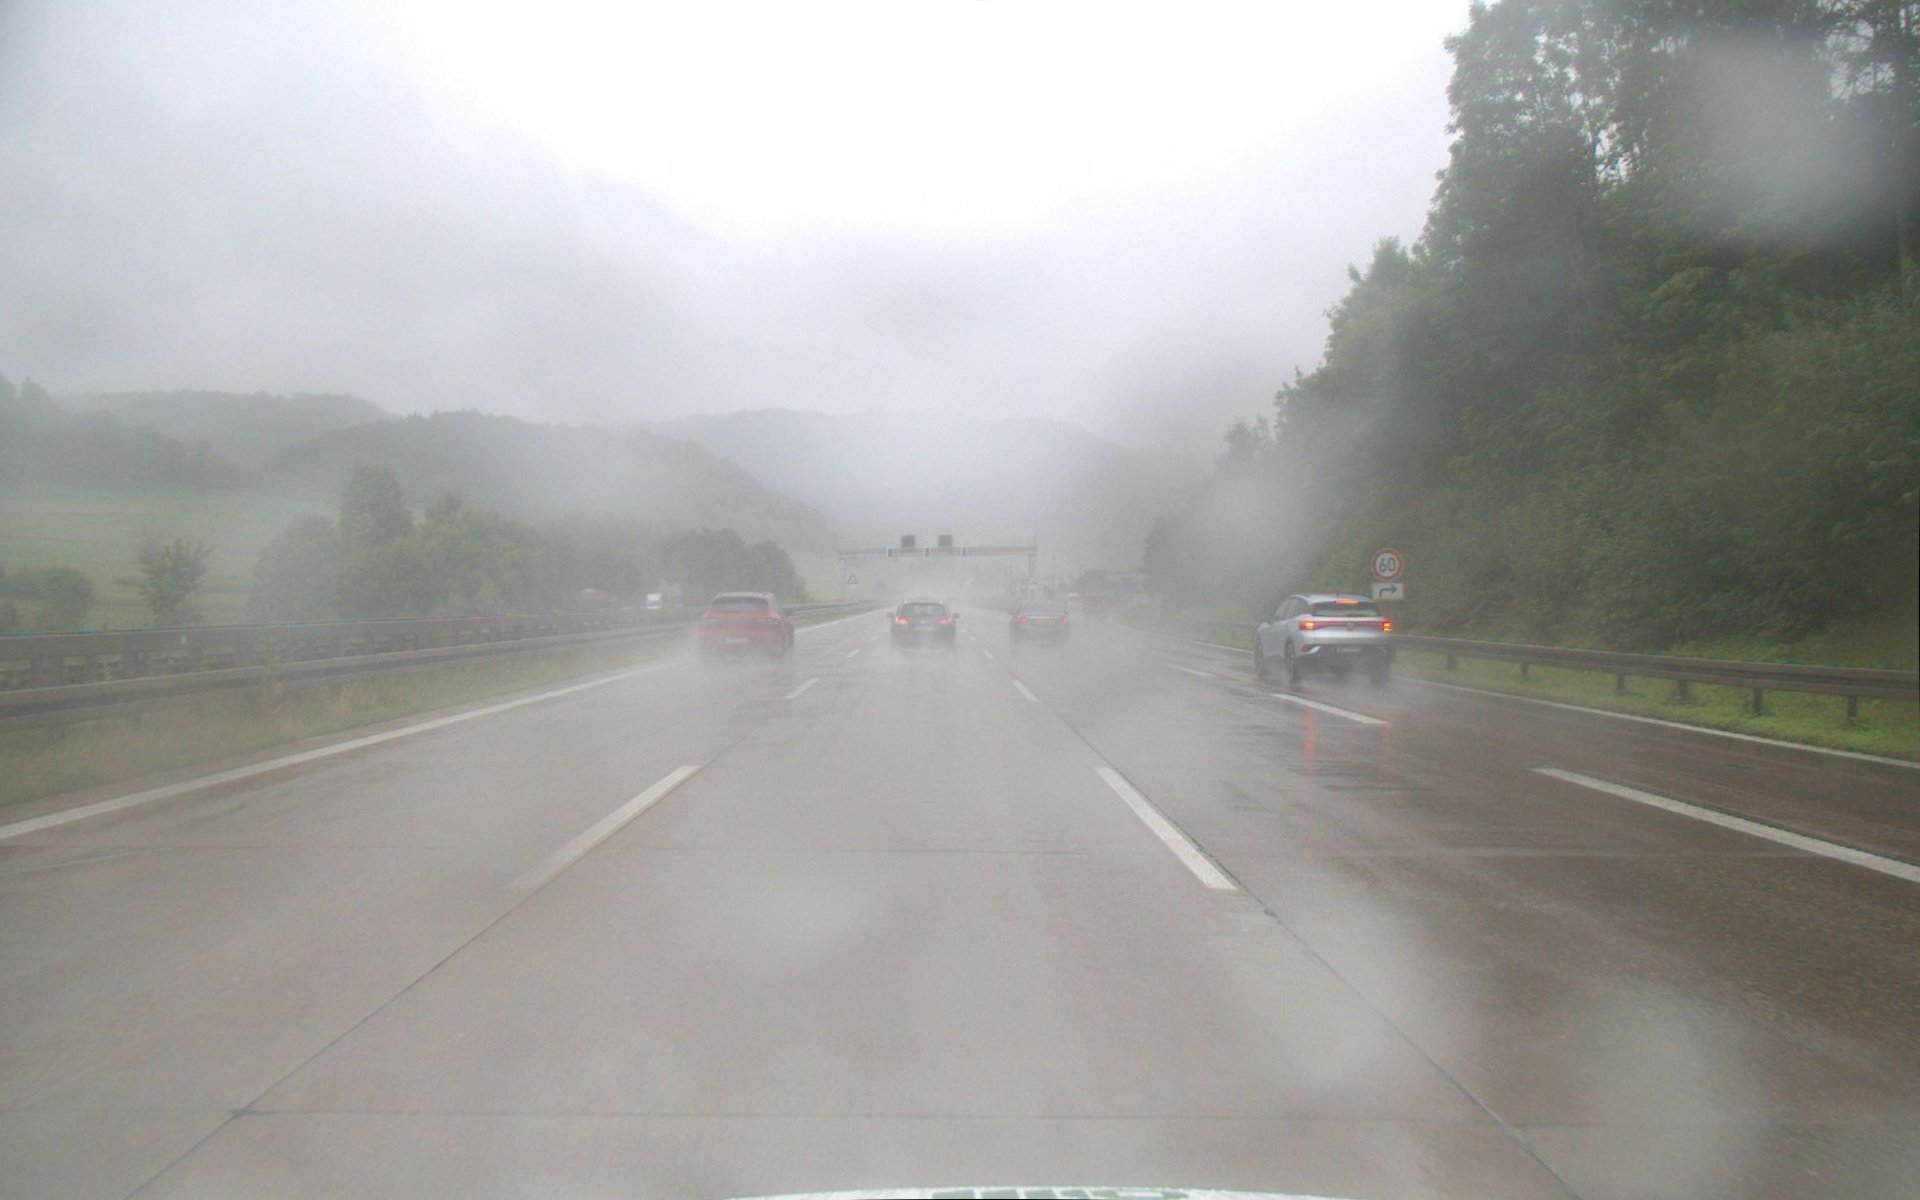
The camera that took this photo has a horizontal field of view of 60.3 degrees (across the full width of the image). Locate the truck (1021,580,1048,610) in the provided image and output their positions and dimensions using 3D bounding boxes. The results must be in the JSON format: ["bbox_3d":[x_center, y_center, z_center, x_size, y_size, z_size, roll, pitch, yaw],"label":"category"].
[{"bbox_3d":[11.423,-0.752,254.897,3.332,4.479,11.047,1,0,-1],"label":"truck"}]

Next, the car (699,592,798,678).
[{"bbox_3d":[-4.769,0.742,37.736,1.846,1.847,3.999,0,0,-2],"label":"car"}]

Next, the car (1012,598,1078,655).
[{"bbox_3d":[2.777,0.841,54.973,1.931,1.791,3.999,0,0,-1],"label":"car"}]

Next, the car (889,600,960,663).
[{"bbox_3d":[-0.944,0.817,44.885,1.822,1.617,3.999,1,0,-1],"label":"car"}]

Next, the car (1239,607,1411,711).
[{"bbox_3d":[6.831,1.047,31.626,1.953,1.781,5.661,1,0,-1],"label":"car"}]
